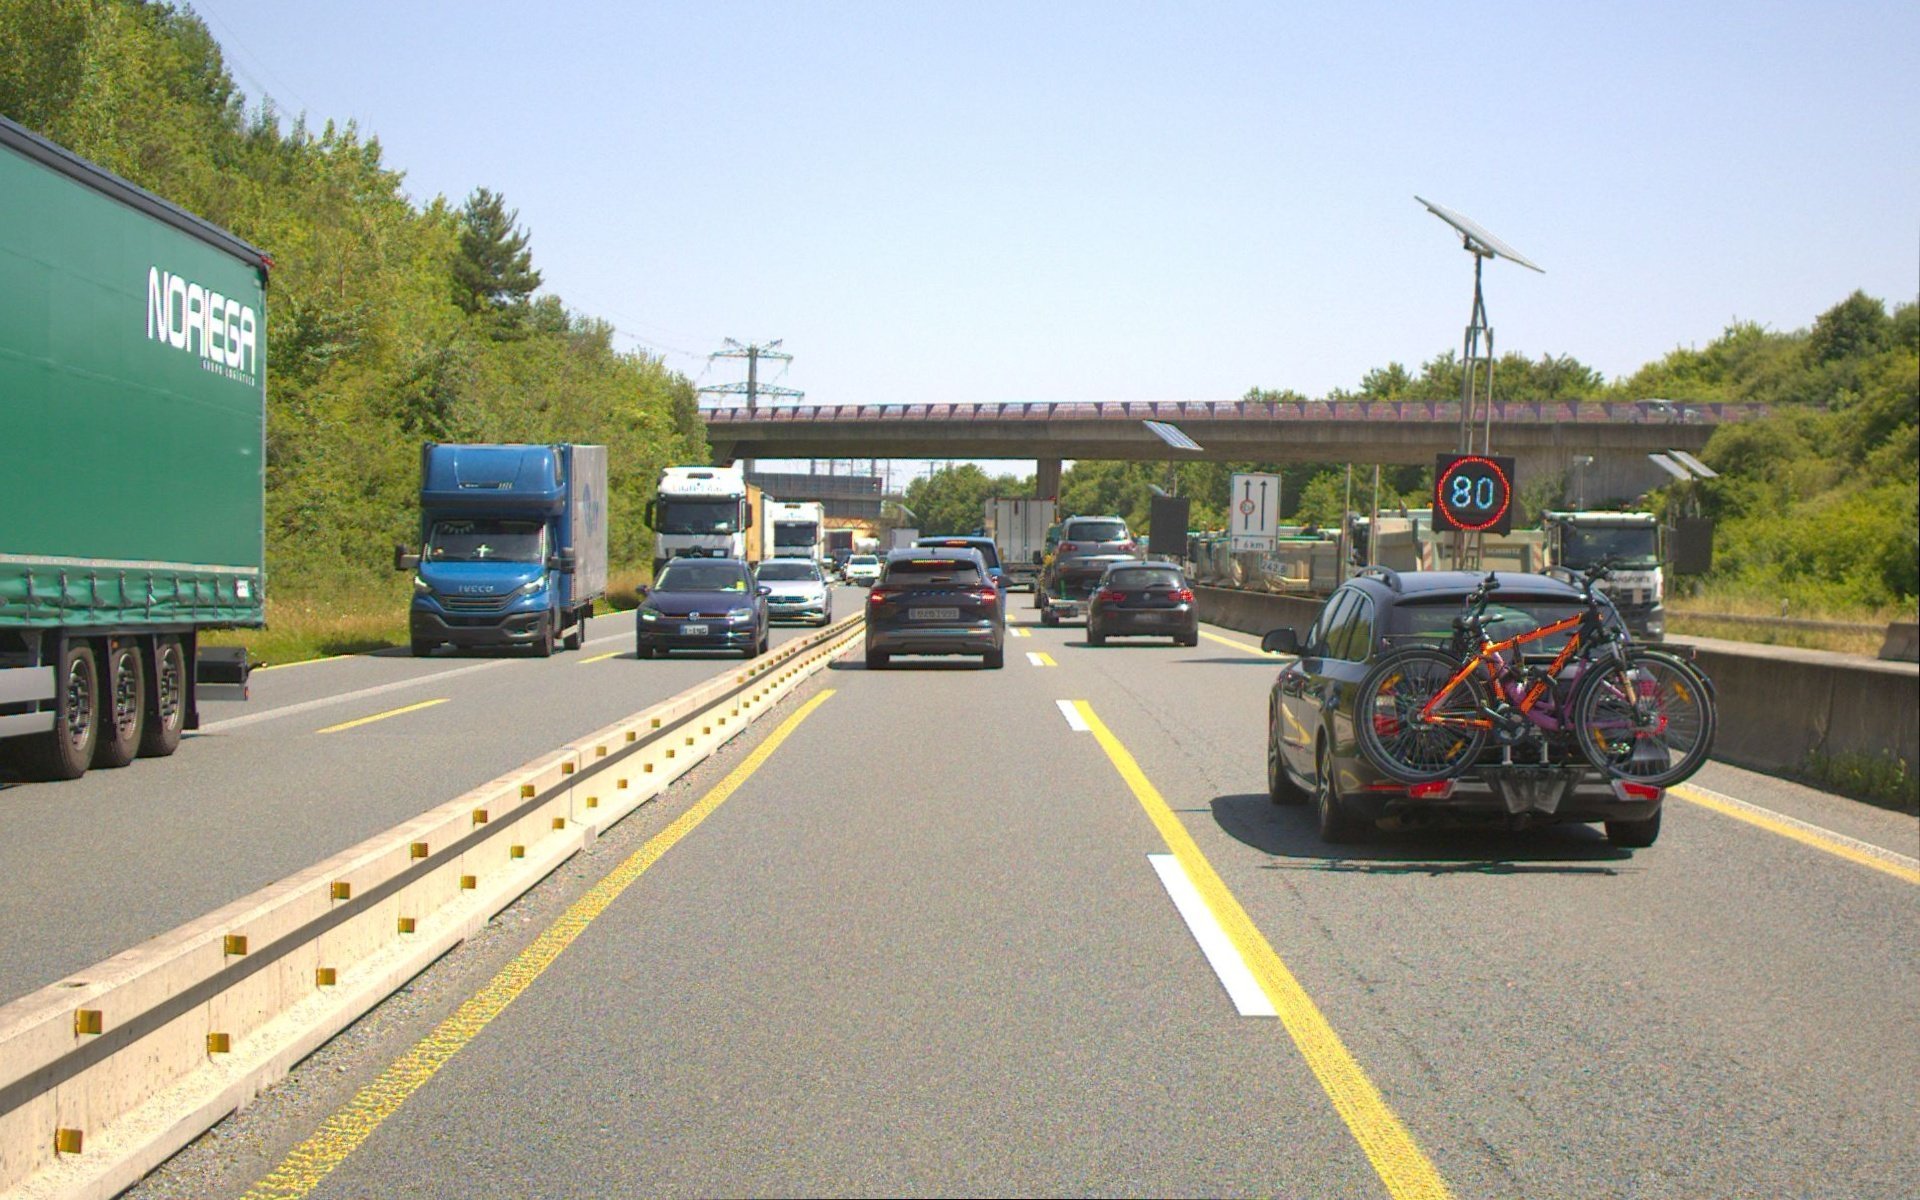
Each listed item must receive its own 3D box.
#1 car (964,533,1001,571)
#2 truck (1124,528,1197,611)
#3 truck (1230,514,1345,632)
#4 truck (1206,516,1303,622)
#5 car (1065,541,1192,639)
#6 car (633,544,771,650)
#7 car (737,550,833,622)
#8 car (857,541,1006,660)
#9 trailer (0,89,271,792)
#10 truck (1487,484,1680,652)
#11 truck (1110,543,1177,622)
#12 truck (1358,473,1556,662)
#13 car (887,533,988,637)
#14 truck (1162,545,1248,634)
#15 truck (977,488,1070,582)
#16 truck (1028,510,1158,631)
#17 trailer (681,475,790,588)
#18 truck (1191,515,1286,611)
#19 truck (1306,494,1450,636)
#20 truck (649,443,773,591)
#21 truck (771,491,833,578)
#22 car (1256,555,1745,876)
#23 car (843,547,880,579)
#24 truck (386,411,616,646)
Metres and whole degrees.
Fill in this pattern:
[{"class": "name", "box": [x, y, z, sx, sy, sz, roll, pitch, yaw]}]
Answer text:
[{"class": "car", "box": [1.201, -2.524, 180.764, 1.899, 1.962, 4.276, 1, 1, 1]}, {"class": "truck", "box": [9.345, -1.454, 161.087, 2.687, 3.748, 9.326, 1, 1, -1]}, {"class": "truck", "box": [10.367, -0.896, 109.703, 2.687, 3.545, 9.603, 1, 1, 0]}, {"class": "truck", "box": [10.295, -1.118, 121.078, 2.687, 3.545, 9.406, 1, 1, 1]}, {"class": "car", "box": [2.834, -0.180, 58.549, 1.899, 1.580, 4.276, 1, 1, 0]}, {"class": "car", "box": [-3.782, -0.061, 51.020, 1.761, 1.485, 4.402, 1, 0, -1]}, {"class": "car", "box": [-3.733, -0.315, 74.002, 1.841, 1.485, 4.511, 0, 0, 0]}, {"class": "car", "box": [-0.351, -0.016, 46.357, 1.899, 1.500, 4.276, 1, 1, 1]}, {"class": "trailer", "box": [-7.075, -0.963, 21.434, 2.891, 4.111, 13.244, 1, 1, 0]}, {"class": "truck", "box": [13.781, -0.732, 76.634, 2.687, 3.499, 8.380, 1, 1, 0]}, {"class": "truck", "box": [9.146, -0.923, 172.319, 2.687, 3.843, 9.326, 1, 1, -1]}, {"class": "truck", "box": [9.833, -0.671, 68.924, 2.533, 3.499, 9.097, 1, 1, 0]}, {"class": "car", "box": [-0.408, -0.307, 67.301, 1.899, 1.962, 4.276, 1, 1, 1]}, {"class": "truck", "box": [10.140, -0.479, 142.939, 2.687, 3.545, 9.326, 1, 1, -1]}, {"class": "truck", "box": [2.626, -2.747, 146.084, 3.292, 3.832, 10.111, 1, 1, -2]}, {"class": "truck", "box": [2.890, -0.702, 76.732, 2.405, 2.549, 7.501, 1, 1, -1]}, {"class": "trailer", "box": [-7.045, -2.157, 108.864, 2.650, 3.325, 8.919, 2, 1, 1]}, {"class": "truck", "box": [10.746, -1.458, 133.542, 2.687, 3.545, 9.326, 1, 1, -1]}, {"class": "truck", "box": [11.001, -0.958, 91.227, 2.538, 3.545, 9.603, 1, 1, 0]}, {"class": "truck", "box": [-7.119, -2.354, 99.583, 2.649, 3.978, 9.650, 2, 1, 1]}, {"class": "truck", "box": [-7.562, -3.107, 165.159, 2.410, 3.978, 10.352, 1, 1, 0]}, {"class": "car", "box": [2.762, 0.526, 18.698, 1.899, 1.485, 4.947, 1, 0, 0]}, {"class": "car", "box": [-5.123, -1.918, 179.234, 1.824, 1.625, 4.151, 1, 0, -1]}, {"class": "truck", "box": [-6.912, -1.093, 52.712, 2.405, 3.319, 7.500, 1, 1, 1]}]
